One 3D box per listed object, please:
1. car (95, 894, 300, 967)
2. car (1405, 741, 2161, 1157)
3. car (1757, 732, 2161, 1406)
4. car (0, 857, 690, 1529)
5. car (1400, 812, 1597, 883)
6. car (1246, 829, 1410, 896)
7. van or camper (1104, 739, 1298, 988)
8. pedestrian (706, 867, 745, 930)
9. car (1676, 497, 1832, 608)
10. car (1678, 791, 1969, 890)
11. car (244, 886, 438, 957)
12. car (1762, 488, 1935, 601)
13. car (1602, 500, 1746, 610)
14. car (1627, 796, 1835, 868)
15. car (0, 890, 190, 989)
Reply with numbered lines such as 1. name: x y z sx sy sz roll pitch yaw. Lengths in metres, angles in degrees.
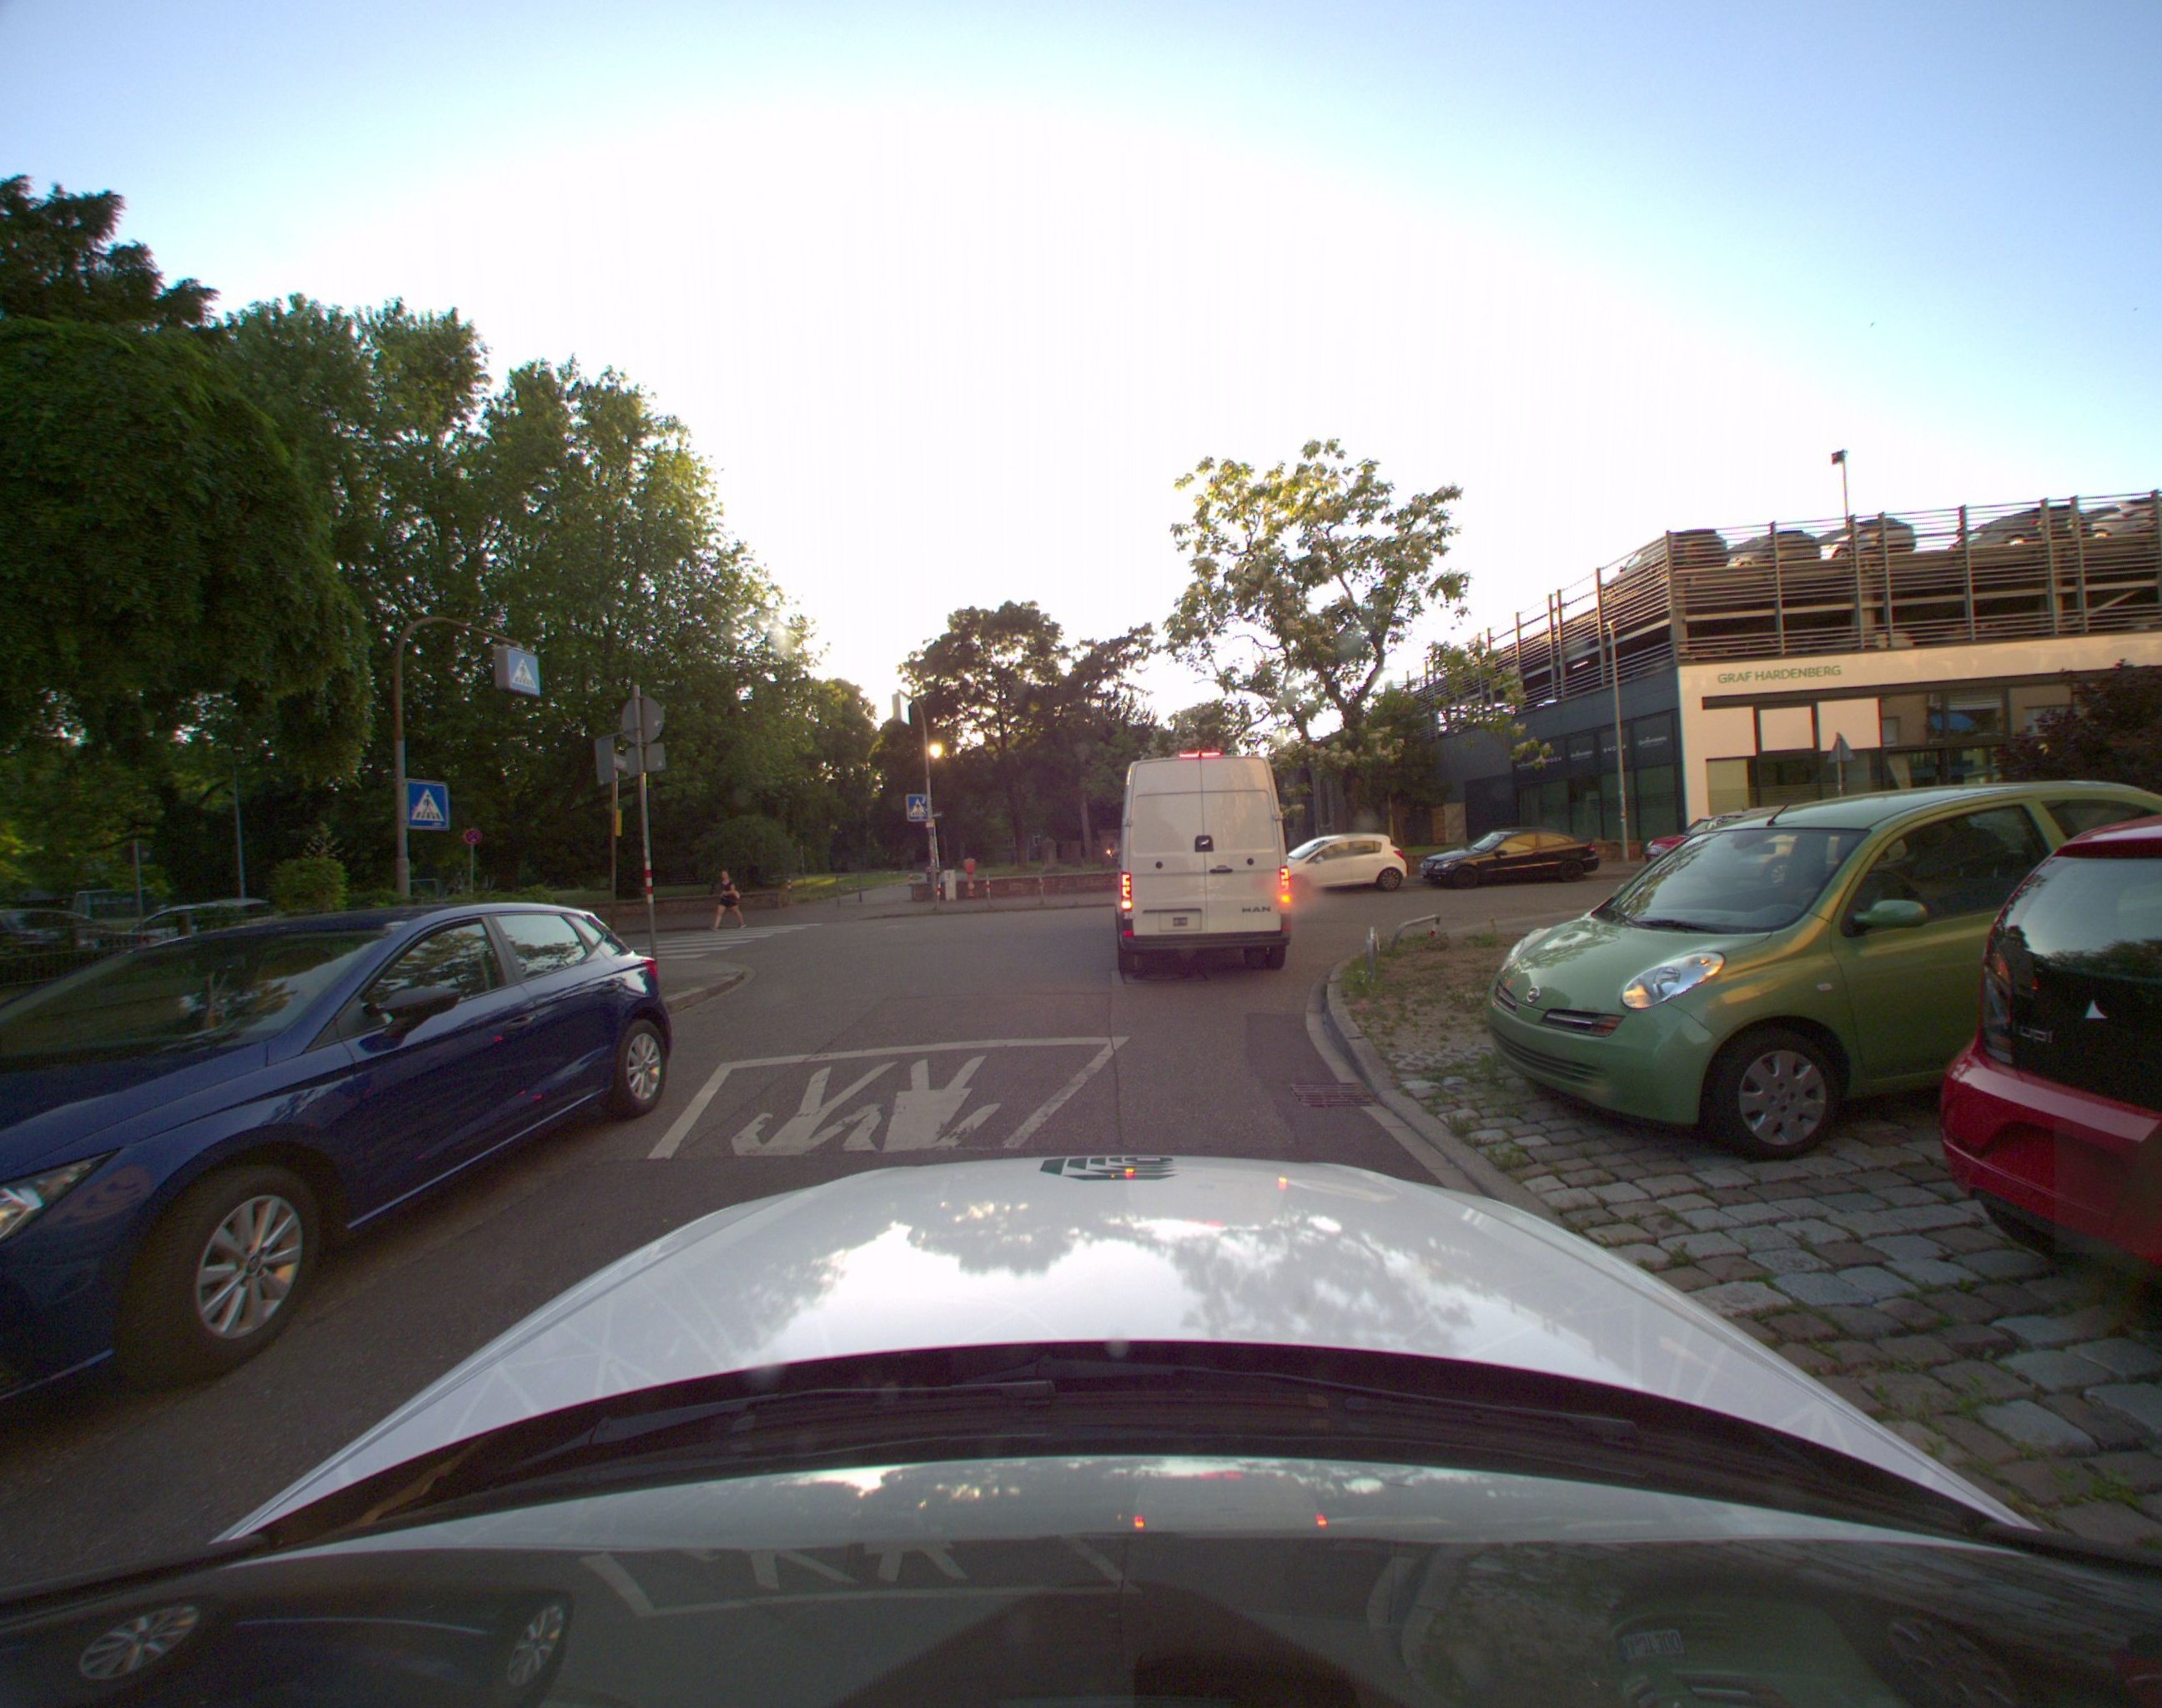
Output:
1. car: -25.692 2.201 23.778 3.852 1.562 1.826 -4 6 3
2. car: 4.434 0.367 4.589 4.392 1.631 1.844 -4 -2 -2
3. car: 4.744 0.276 2.030 4.386 1.631 1.847 -7 0 2
4. car: -3.552 0.877 3.694 1.729 1.567 3.787 -5 0 -3
5. car: 11.067 -0.159 21.828 4.273 1.503 1.825 -4 0 4
6. car: 6.650 0.212 22.226 3.844 1.574 1.957 -3 0 -2
7. van or camper: 1.518 0.092 12.015 1.985 2.618 6.410 -2 0 4
8. pedestrian: -9.587 1.190 21.973 0.640 1.648 0.678 -1 0 32
9. car: 21.762 -9.705 26.574 1.984 2.013 4.006 -2 0 6
10. car: 14.237 -0.256 15.826 3.820 1.523 1.825 -4 0 4
11. car: -20.985 1.902 23.200 3.832 1.491 1.828 -4 6 7
12. car: 24.491 -9.815 26.210 1.984 2.013 4.006 -2 0 6
13. car: 19.197 -9.627 26.614 1.984 2.013 4.006 -2 0 6
14. car: 16.809 -0.560 21.227 3.820 1.503 1.825 -4 0 4
15. car: -21.470 1.797 16.805 4.212 1.799 1.824 -4 -3 2
